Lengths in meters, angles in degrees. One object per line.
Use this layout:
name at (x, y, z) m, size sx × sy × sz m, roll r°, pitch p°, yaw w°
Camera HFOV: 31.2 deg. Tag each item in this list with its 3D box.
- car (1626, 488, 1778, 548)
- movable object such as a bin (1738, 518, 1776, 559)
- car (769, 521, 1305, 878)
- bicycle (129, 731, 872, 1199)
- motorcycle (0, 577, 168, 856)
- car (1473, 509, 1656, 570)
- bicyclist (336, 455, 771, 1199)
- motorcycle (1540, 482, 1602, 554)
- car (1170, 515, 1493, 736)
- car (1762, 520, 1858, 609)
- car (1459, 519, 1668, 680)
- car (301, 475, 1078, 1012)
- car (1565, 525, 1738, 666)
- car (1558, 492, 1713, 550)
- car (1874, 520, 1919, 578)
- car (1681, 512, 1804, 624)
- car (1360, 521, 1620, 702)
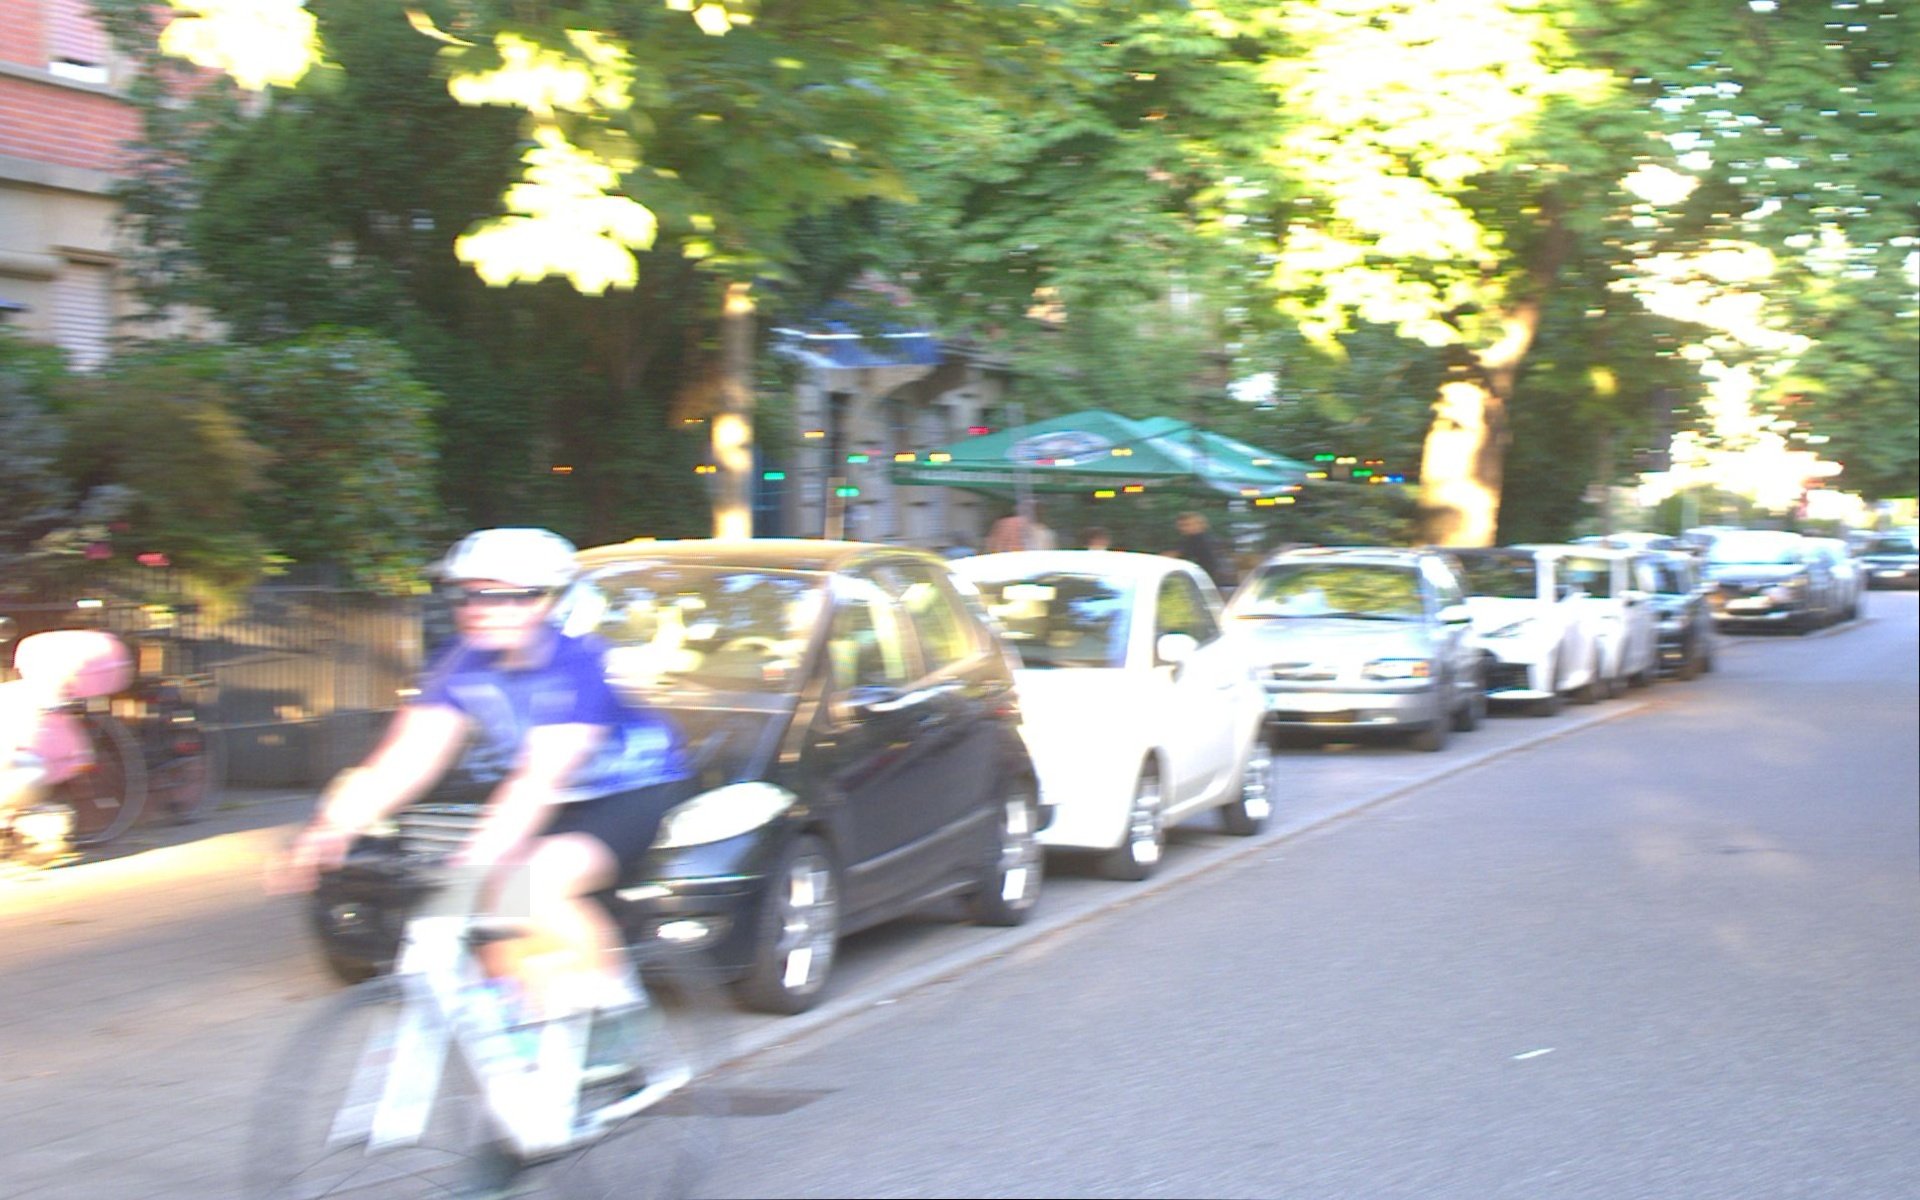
car at (21.657, -2.405, 100.319) m, size 4.096 × 1.522 × 1.708 m, roll 3°, pitch 2°, yaw 18°
movable object such as a bin at (26.693, -2.049, 115.129) m, size 1.014 × 1.316 × 1.004 m, roll 3°, pitch 3°, yaw 23°
car at (0.502, 0.394, 17.222) m, size 1.666 × 1.488 × 3.707 m, roll 3°, pitch 2°, yaw 17°
bicycle at (-0.942, 0.839, 7.585) m, size 0.538 × 1.030 × 1.903 m, roll -1°, pitch 0°, yaw 32°
motorcycle at (-4.262, 0.505, 14.927) m, size 0.392 × 1.181 × 1.954 m, roll 2°, pitch 2°, yaw 28°
car at (14.823, -1.502, 84.337) m, size 4.099 × 1.442 × 1.707 m, roll 1°, pitch 3°, yaw 28°
bicyclist at (-0.885, 0.474, 7.609) m, size 0.509 × 1.571 × 0.821 m, roll 0°, pitch 3°, yaw 34°
motorcycle at (10.443, -1.414, 58.729) m, size 0.583 × 1.152 × 2.889 m, roll 3°, pitch 3°, yaw 18°
car at (2.900, 0.117, 25.963) m, size 1.841 × 1.406 × 4.598 m, roll 3°, pitch 2°, yaw 13°
car at (15.425, -0.673, 62.305) m, size 1.552 × 1.476 × 3.691 m, roll 3°, pitch 2°, yaw 15°
car at (6.262, -0.051, 35.428) m, size 1.553 × 1.480 × 3.691 m, roll 3°, pitch 2°, yaw 18°
car at (-0.854, 0.396, 13.126) m, size 1.665 × 1.671 × 3.844 m, roll 3°, pitch 2°, yaw 16°
car at (7.878, -0.085, 38.992) m, size 1.552 × 1.480 × 3.691 m, roll -1°, pitch 1°, yaw 17°
car at (17.443, -2.058, 88.736) m, size 3.569 × 1.442 × 1.815 m, roll 1°, pitch 3°, yaw 28°
car at (25.268, -1.363, 91.066) m, size 1.618 × 1.465 × 3.957 m, roll 1°, pitch 2°, yaw 21°
car at (12.184, -0.536, 53.396) m, size 1.691 × 1.558 × 4.400 m, roll 3°, pitch 2°, yaw 14°
car at (4.841, 0.050, 31.013) m, size 1.605 × 1.430 × 3.882 m, roll 3°, pitch 3°, yaw 19°
